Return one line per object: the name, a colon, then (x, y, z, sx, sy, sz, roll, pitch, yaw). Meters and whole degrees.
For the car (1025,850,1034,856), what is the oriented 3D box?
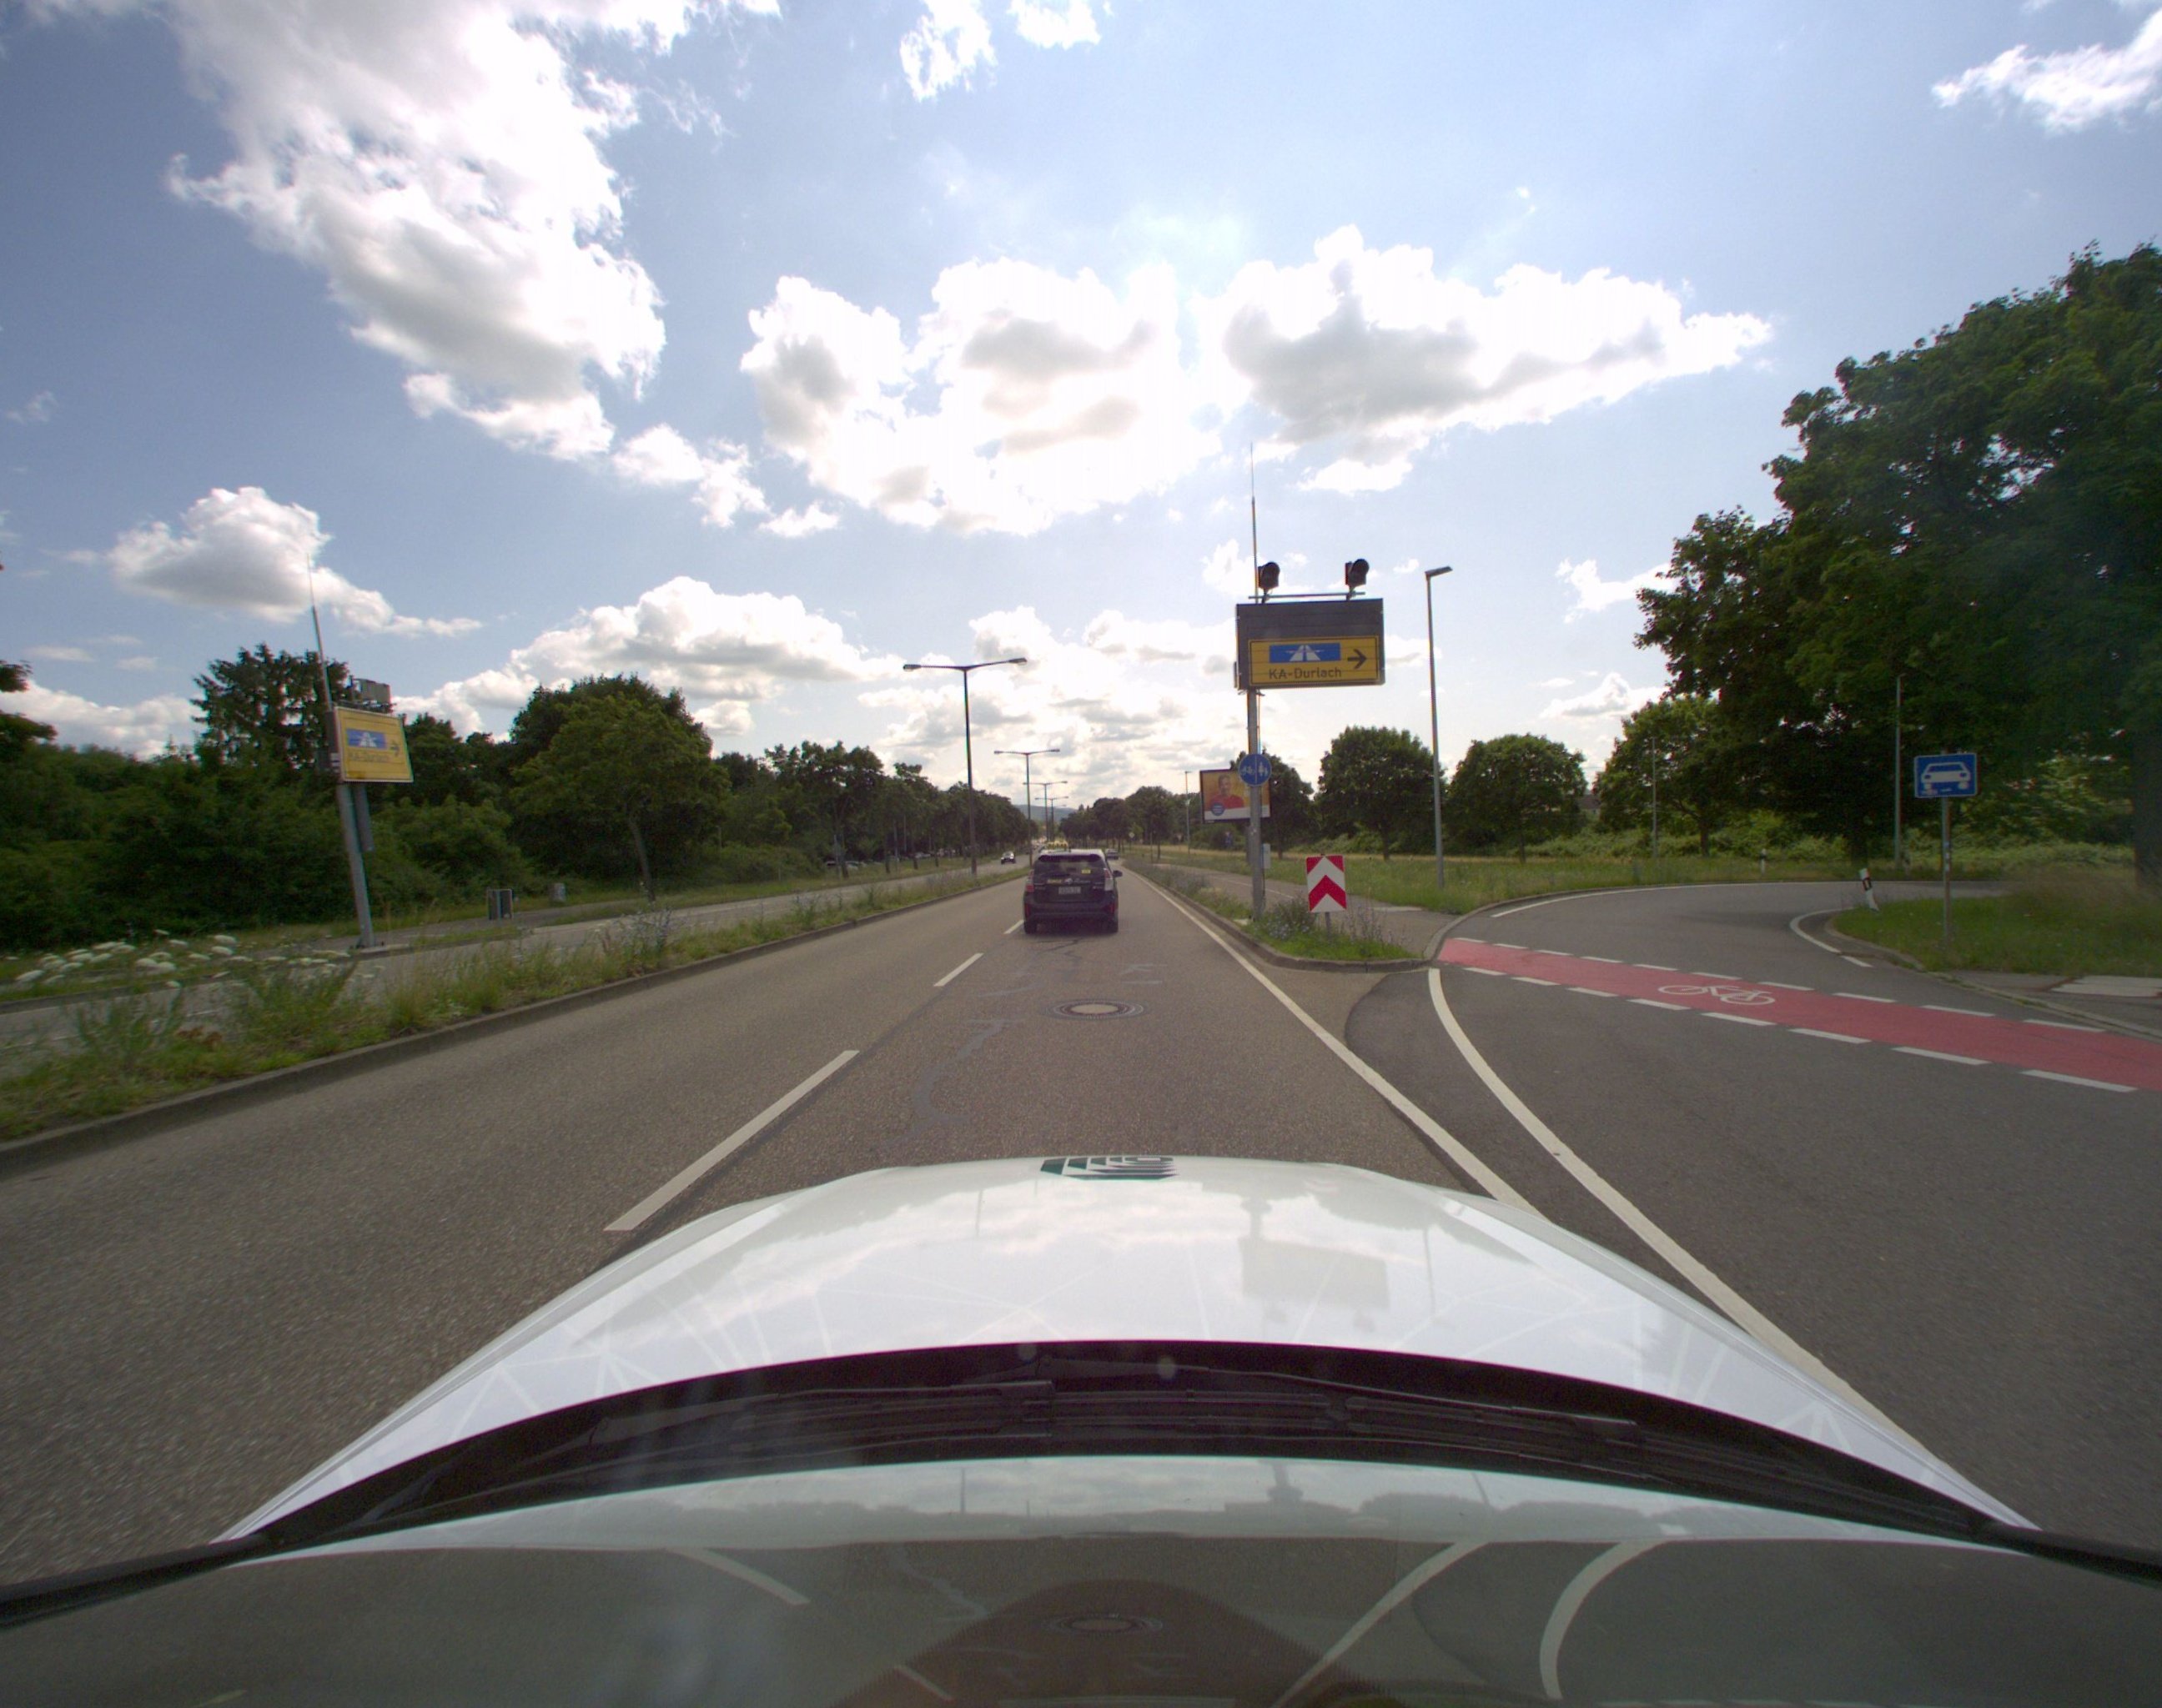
car: (-12.267, -0.228, 193.397, 1.701, 1.427, 3.662, -2, 0, -10)

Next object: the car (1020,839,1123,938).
car: (-0.196, 0.561, 16.184, 1.774, 1.683, 3.998, -1, 1, -1)

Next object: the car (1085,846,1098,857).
car: (1.771, -0.386, 136.818, 1.988, 1.661, 3.999, -1, 1, -1)

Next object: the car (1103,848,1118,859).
car: (4.514, -0.070, 124.249, 1.989, 1.508, 3.996, -1, 1, -3)

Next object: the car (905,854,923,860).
car: (-39.307, 0.677, 191.874, 3.770, 1.387, 1.787, -1, 1, 2)

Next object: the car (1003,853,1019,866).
car: (-10.418, 0.803, 121.112, 1.871, 1.790, 4.727, -4, 0, -1)

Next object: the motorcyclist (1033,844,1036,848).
motorcyclist: (-14.565, -2.487, 256.743, 0.824, 1.414, 1.328, -1, 1, -2)
